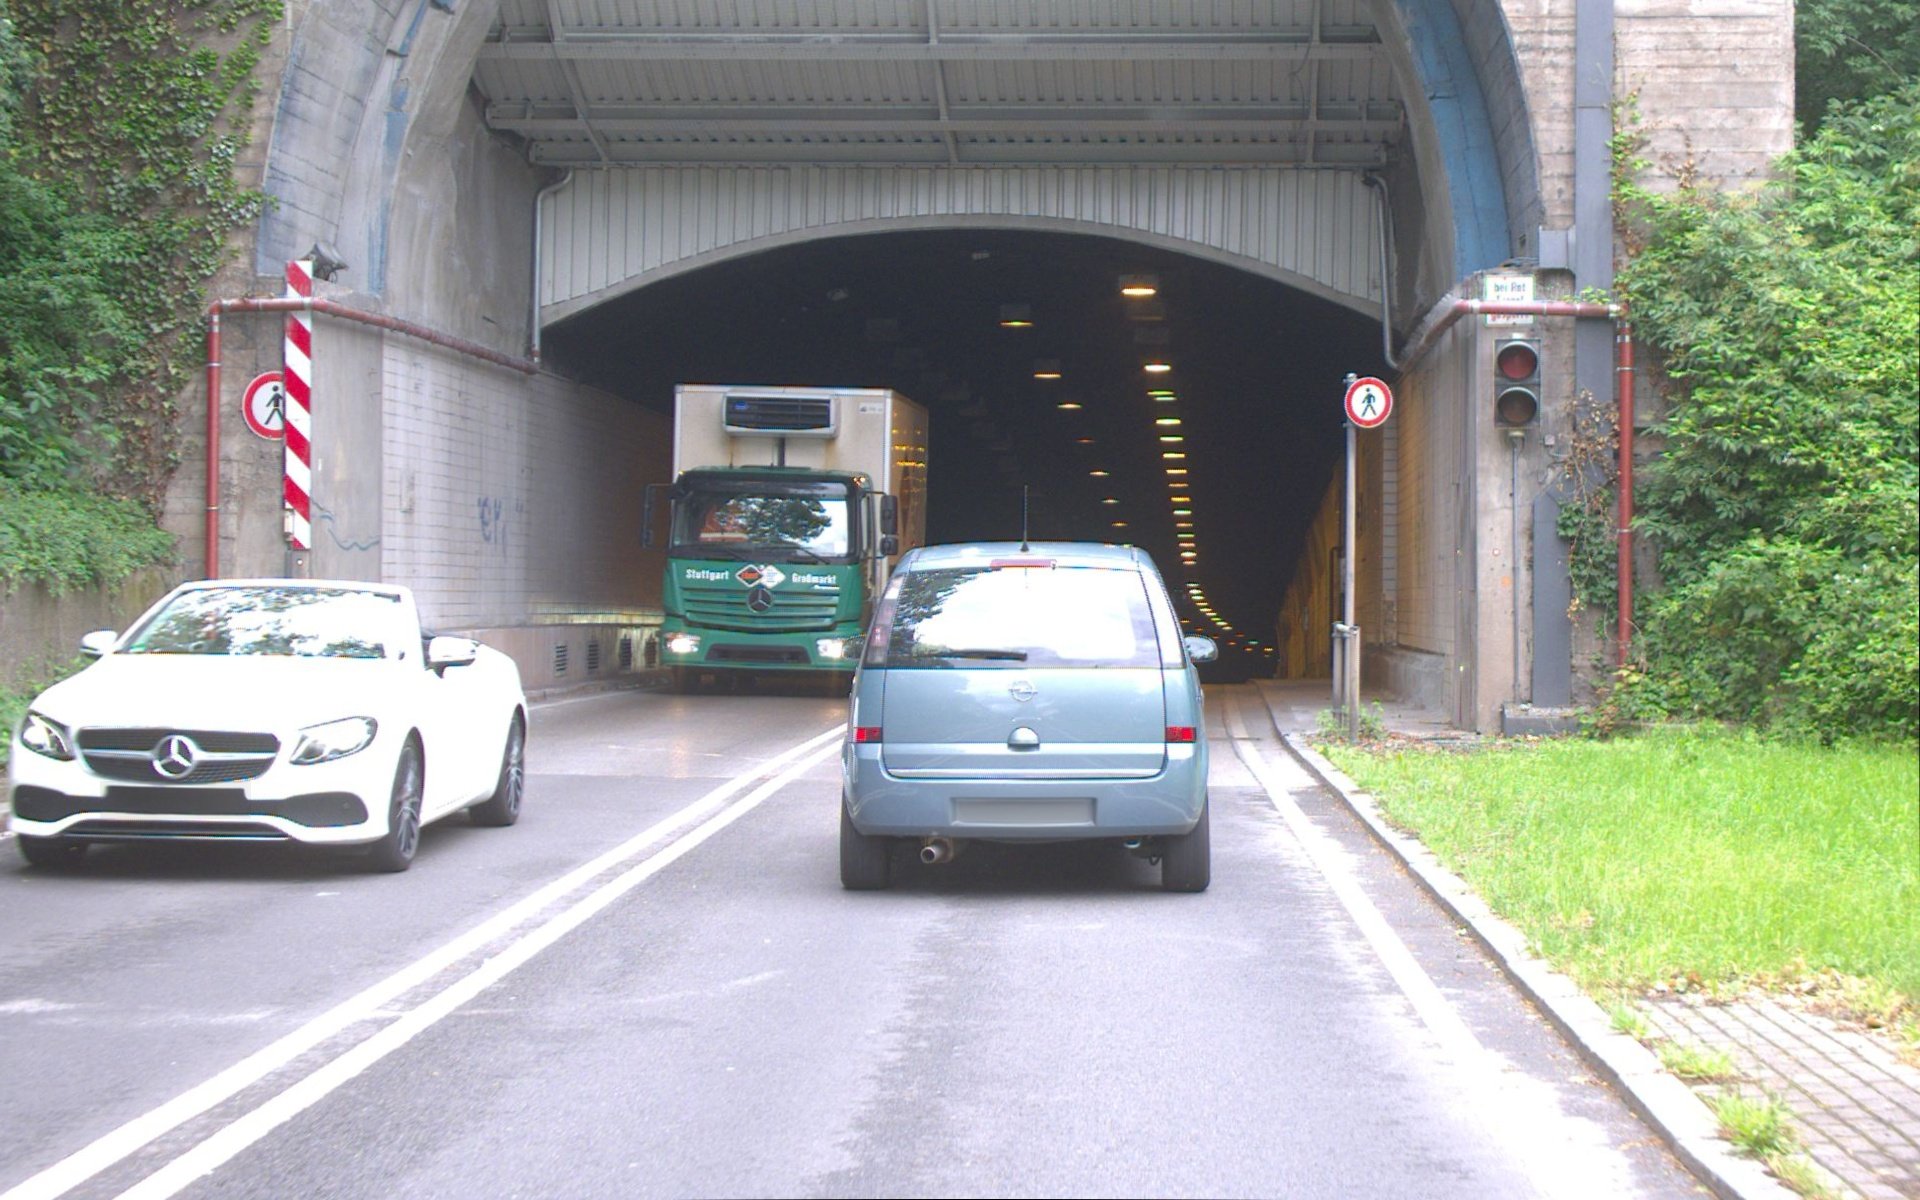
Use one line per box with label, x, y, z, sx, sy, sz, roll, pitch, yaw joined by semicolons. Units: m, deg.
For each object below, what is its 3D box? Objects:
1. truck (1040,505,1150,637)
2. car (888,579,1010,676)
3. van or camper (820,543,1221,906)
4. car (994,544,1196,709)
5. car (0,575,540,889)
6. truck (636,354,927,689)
truck;4.273;-0.849;107.686;2.814;3.704;7.542;1;-3;7
car;-0.167;0.482;62.227;1.879;1.670;4.376;1;0;4
van or camper;0.358;0.535;16.773;1.735;1.572;3.645;0;0;3
car;1.546;0.250;37.981;1.994;1.647;4.000;0;2;6
car;-3.442;0.572;17.535;1.868;1.366;4.456;0;1;3
truck;-2.012;-0.888;41.633;2.676;3.654;7.517;1;0;3
